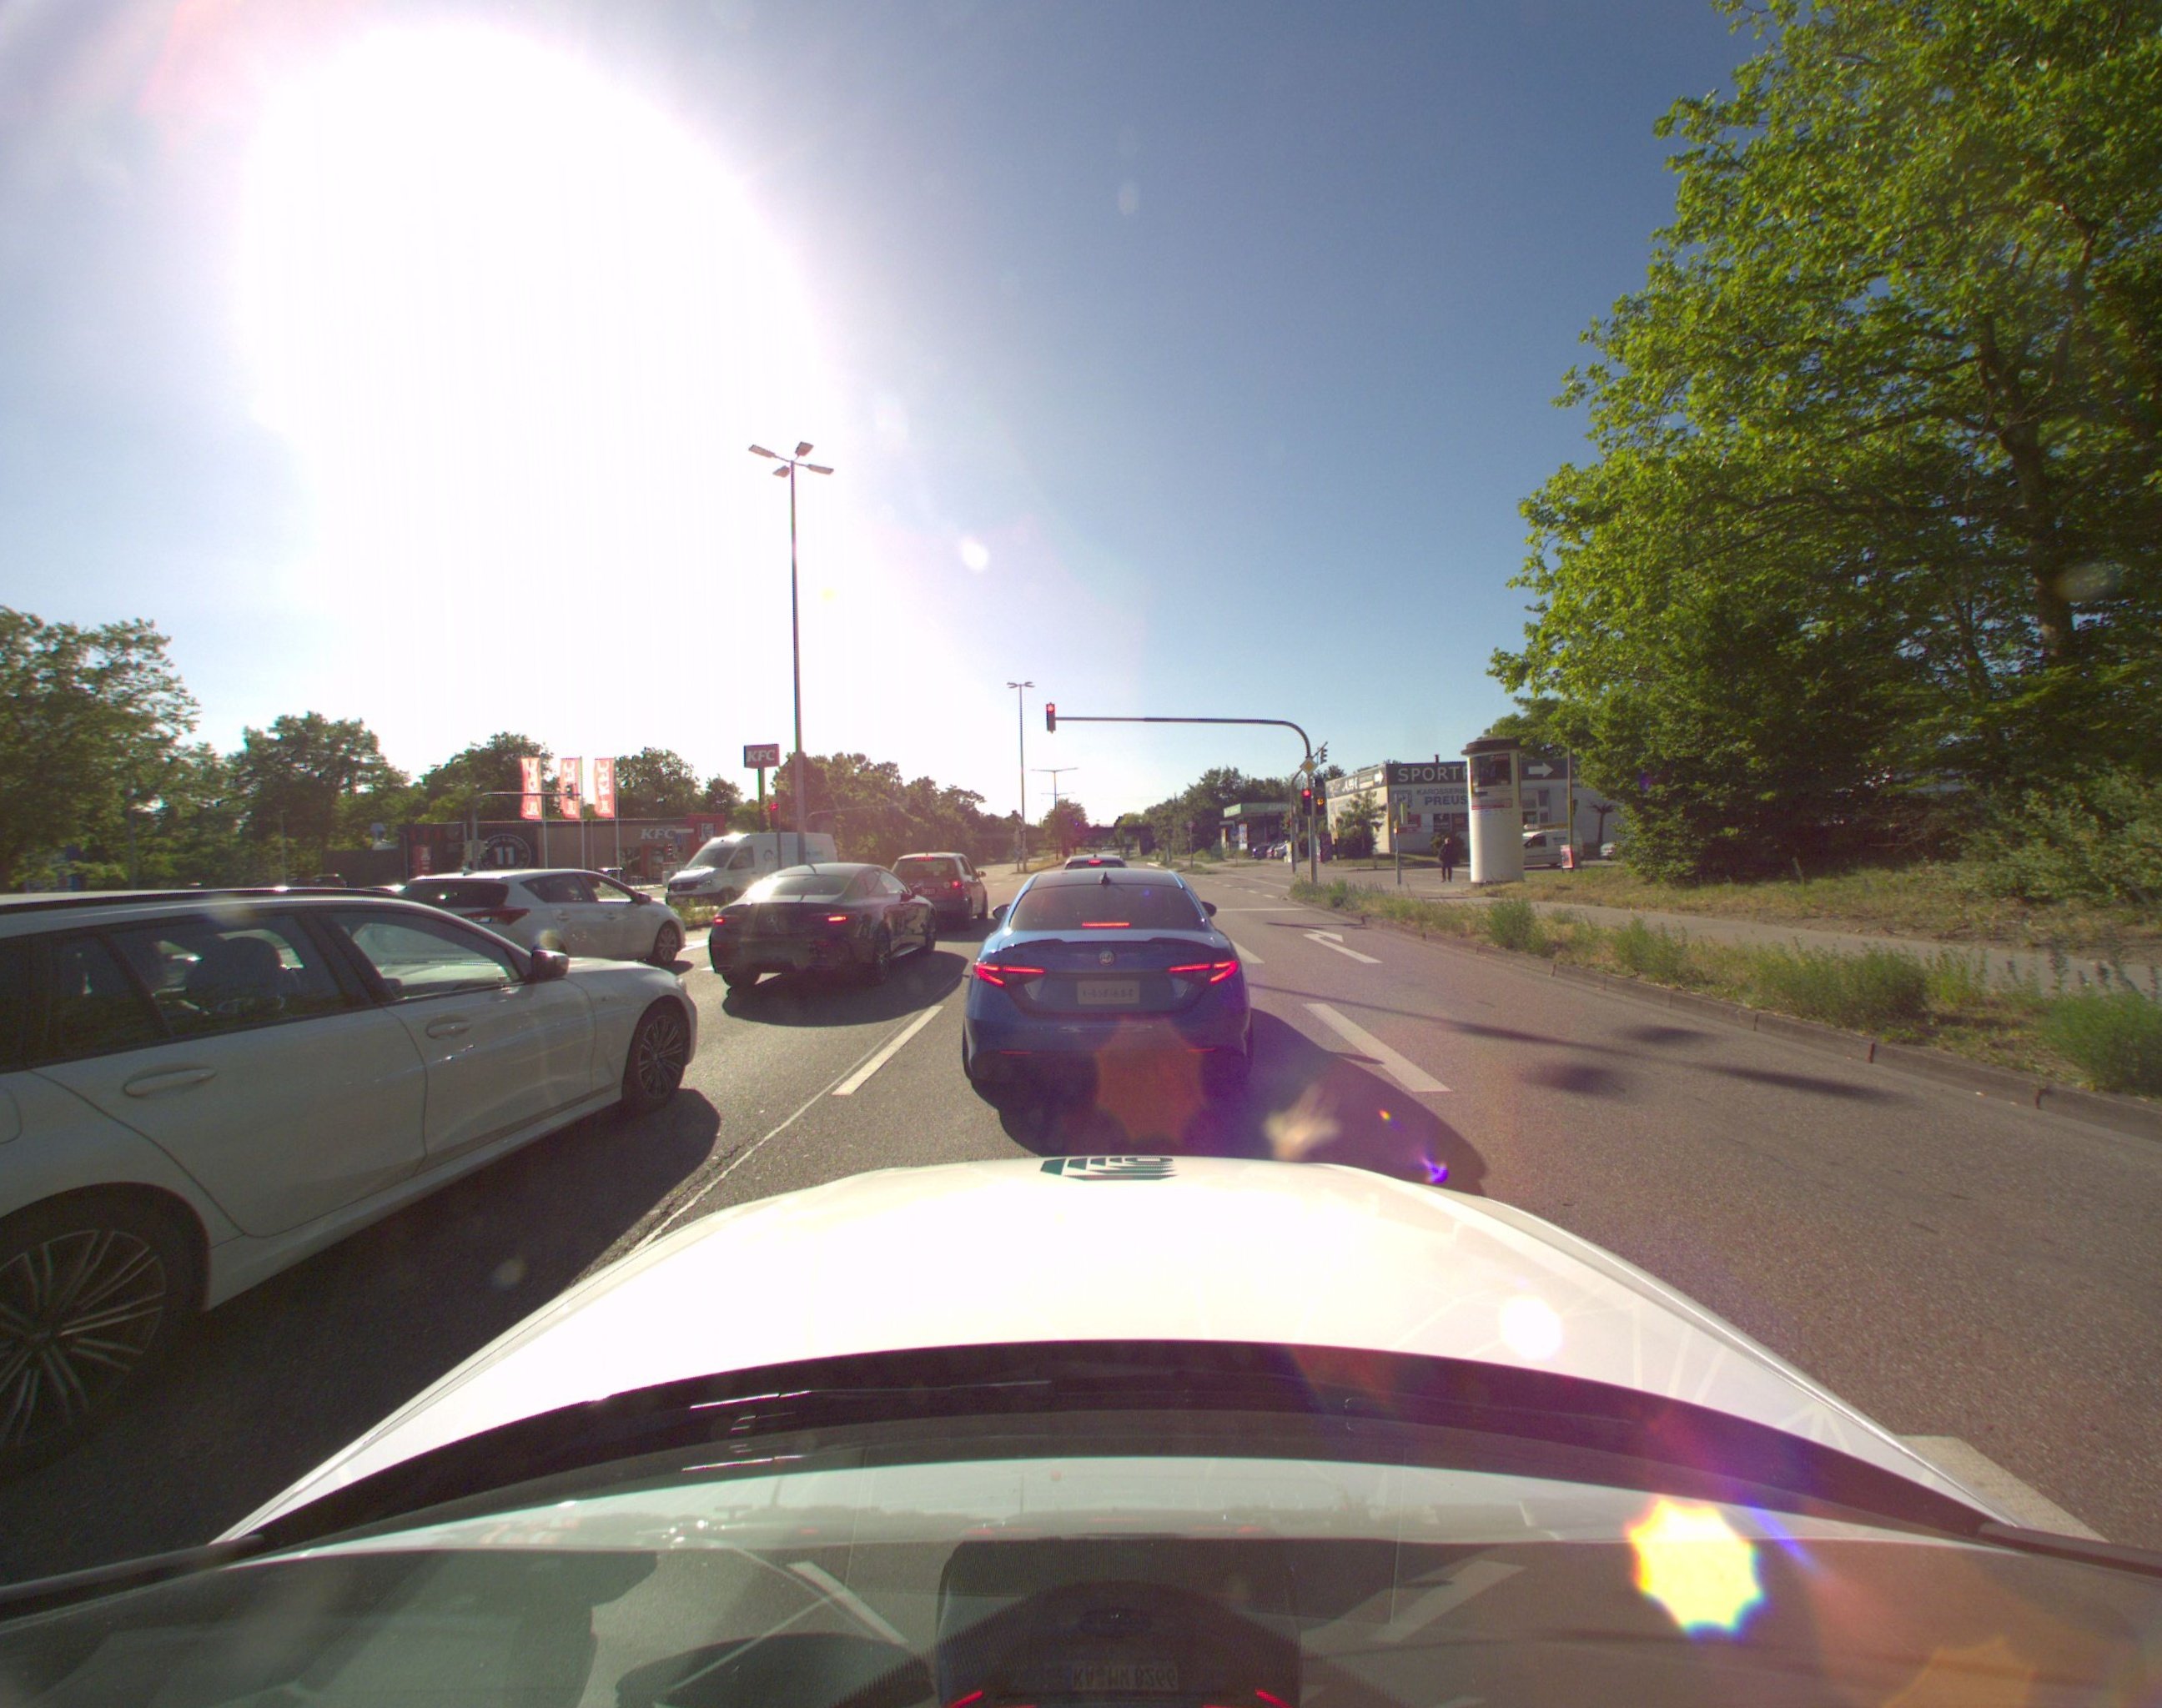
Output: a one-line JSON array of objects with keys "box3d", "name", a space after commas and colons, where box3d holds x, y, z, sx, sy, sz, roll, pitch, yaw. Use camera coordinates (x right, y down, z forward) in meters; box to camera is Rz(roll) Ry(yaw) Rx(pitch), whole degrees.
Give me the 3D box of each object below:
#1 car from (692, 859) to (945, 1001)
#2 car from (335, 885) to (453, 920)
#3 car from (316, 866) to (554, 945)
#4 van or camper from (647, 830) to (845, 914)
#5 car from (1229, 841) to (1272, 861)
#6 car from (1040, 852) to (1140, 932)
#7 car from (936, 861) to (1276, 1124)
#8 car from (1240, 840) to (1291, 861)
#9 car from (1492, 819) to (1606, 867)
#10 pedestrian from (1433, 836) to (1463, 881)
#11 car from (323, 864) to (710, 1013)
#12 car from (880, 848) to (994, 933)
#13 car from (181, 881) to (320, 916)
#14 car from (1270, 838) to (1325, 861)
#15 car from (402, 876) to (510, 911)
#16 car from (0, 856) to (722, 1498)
[{"box3d": [-3.145, 0.815, 10.832, 1.762, 1.414, 4.463, -1, 0, 2], "name": "car"}, {"box3d": [-32.129, 2.244, 38.167, 4.019, 1.429, 1.826, -2, 0, 3], "name": "car"}, {"box3d": [-16.097, 1.198, 20.693, 1.983, 1.653, 4.623, -1, 0, 7], "name": "car"}, {"box3d": [-11.354, 0.522, 28.381, 2.159, 2.572, 6.791, -1, 0, 22], "name": "van or camper"}, {"box3d": [15.379, -0.252, 73.968, 3.489, 1.706, 1.687, -2, 0, -14], "name": "car"}, {"box3d": [0.230, 0.703, 17.195, 1.859, 1.450, 3.933, -1, 0, 2], "name": "car"}, {"box3d": [0.200, 0.789, 6.484, 1.859, 1.385, 3.933, -1, 0, 2], "name": "car"}, {"box3d": [16.036, -0.288, 70.759, 3.997, 1.706, 1.685, -1, 0, -18], "name": "car"}, {"box3d": [22.628, -0.521, 39.465, 4.393, 2.145, 1.999, -1, 0, -2], "name": "car"}, {"box3d": [14.269, 0.181, 31.668, 0.818, 1.721, 0.856, -2, 0, 9], "name": "pedestrian"}, {"box3d": [-6.867, 0.906, 10.653, 1.850, 1.429, 4.405, -1, 0, 2], "name": "car"}, {"box3d": [-3.002, 0.701, 17.773, 1.642, 1.598, 3.933, -1, 0, 2], "name": "car"}, {"box3d": [-39.251, 2.091, 38.575, 4.701, 1.429, 1.865, -1, 1, 2], "name": "car"}, {"box3d": [17.506, -0.358, 65.865, 3.993, 1.706, 1.687, -2, 0, -15], "name": "car"}, {"box3d": [-31.925, 1.994, 41.689, 4.025, 1.595, 1.824, -2, 0, -1], "name": "car"}, {"box3d": [-3.431, 0.799, 3.359, 1.762, 1.509, 4.463, -1, 0, 2], "name": "car"}]
